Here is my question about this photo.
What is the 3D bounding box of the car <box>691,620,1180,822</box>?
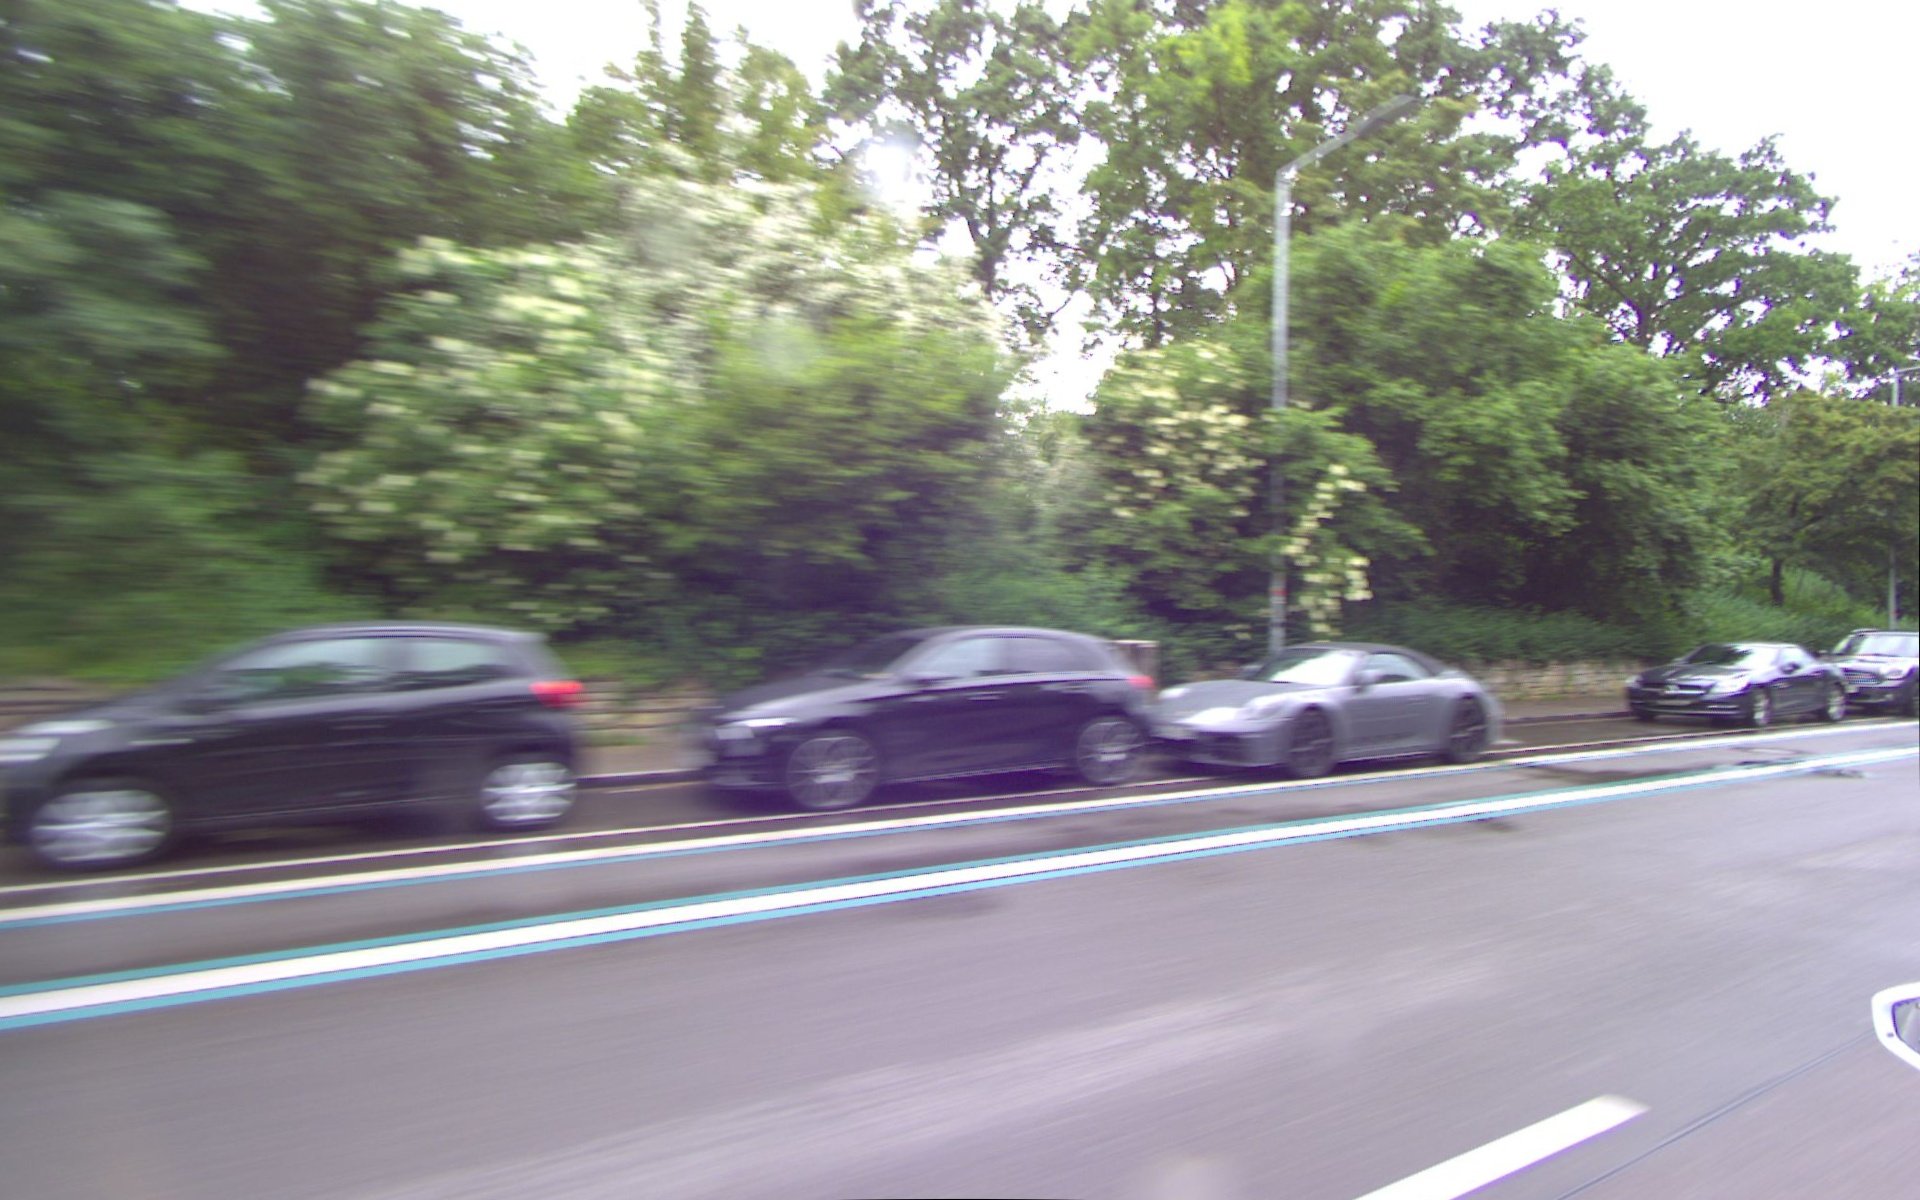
[{"bbox_3d":[-0.204,0.947,9.291,4.087,1.471,1.986,1,-1,-28],"label":"car"}]

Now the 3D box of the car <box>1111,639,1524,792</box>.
[{"bbox_3d":[3.983,1.120,11.014,4.417,1.321,1.861,1,-1,-30],"label":"car"}]

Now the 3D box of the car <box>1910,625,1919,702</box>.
[{"bbox_3d":[21.517,1.339,21.150,2.949,1.592,1.454,1,-1,-31],"label":"car"}]

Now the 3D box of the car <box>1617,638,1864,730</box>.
[{"bbox_3d":[12.904,1.303,16.575,4.139,1.318,1.690,1,-1,-28],"label":"car"}]

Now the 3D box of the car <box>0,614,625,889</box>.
[{"bbox_3d":[-4.518,0.886,7.013,3.927,1.530,1.596,1,-1,-29],"label":"car"}]

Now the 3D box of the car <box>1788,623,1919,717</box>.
[{"bbox_3d":[17.684,1.259,18.999,4.086,1.605,1.690,1,-1,-28],"label":"car"}]
